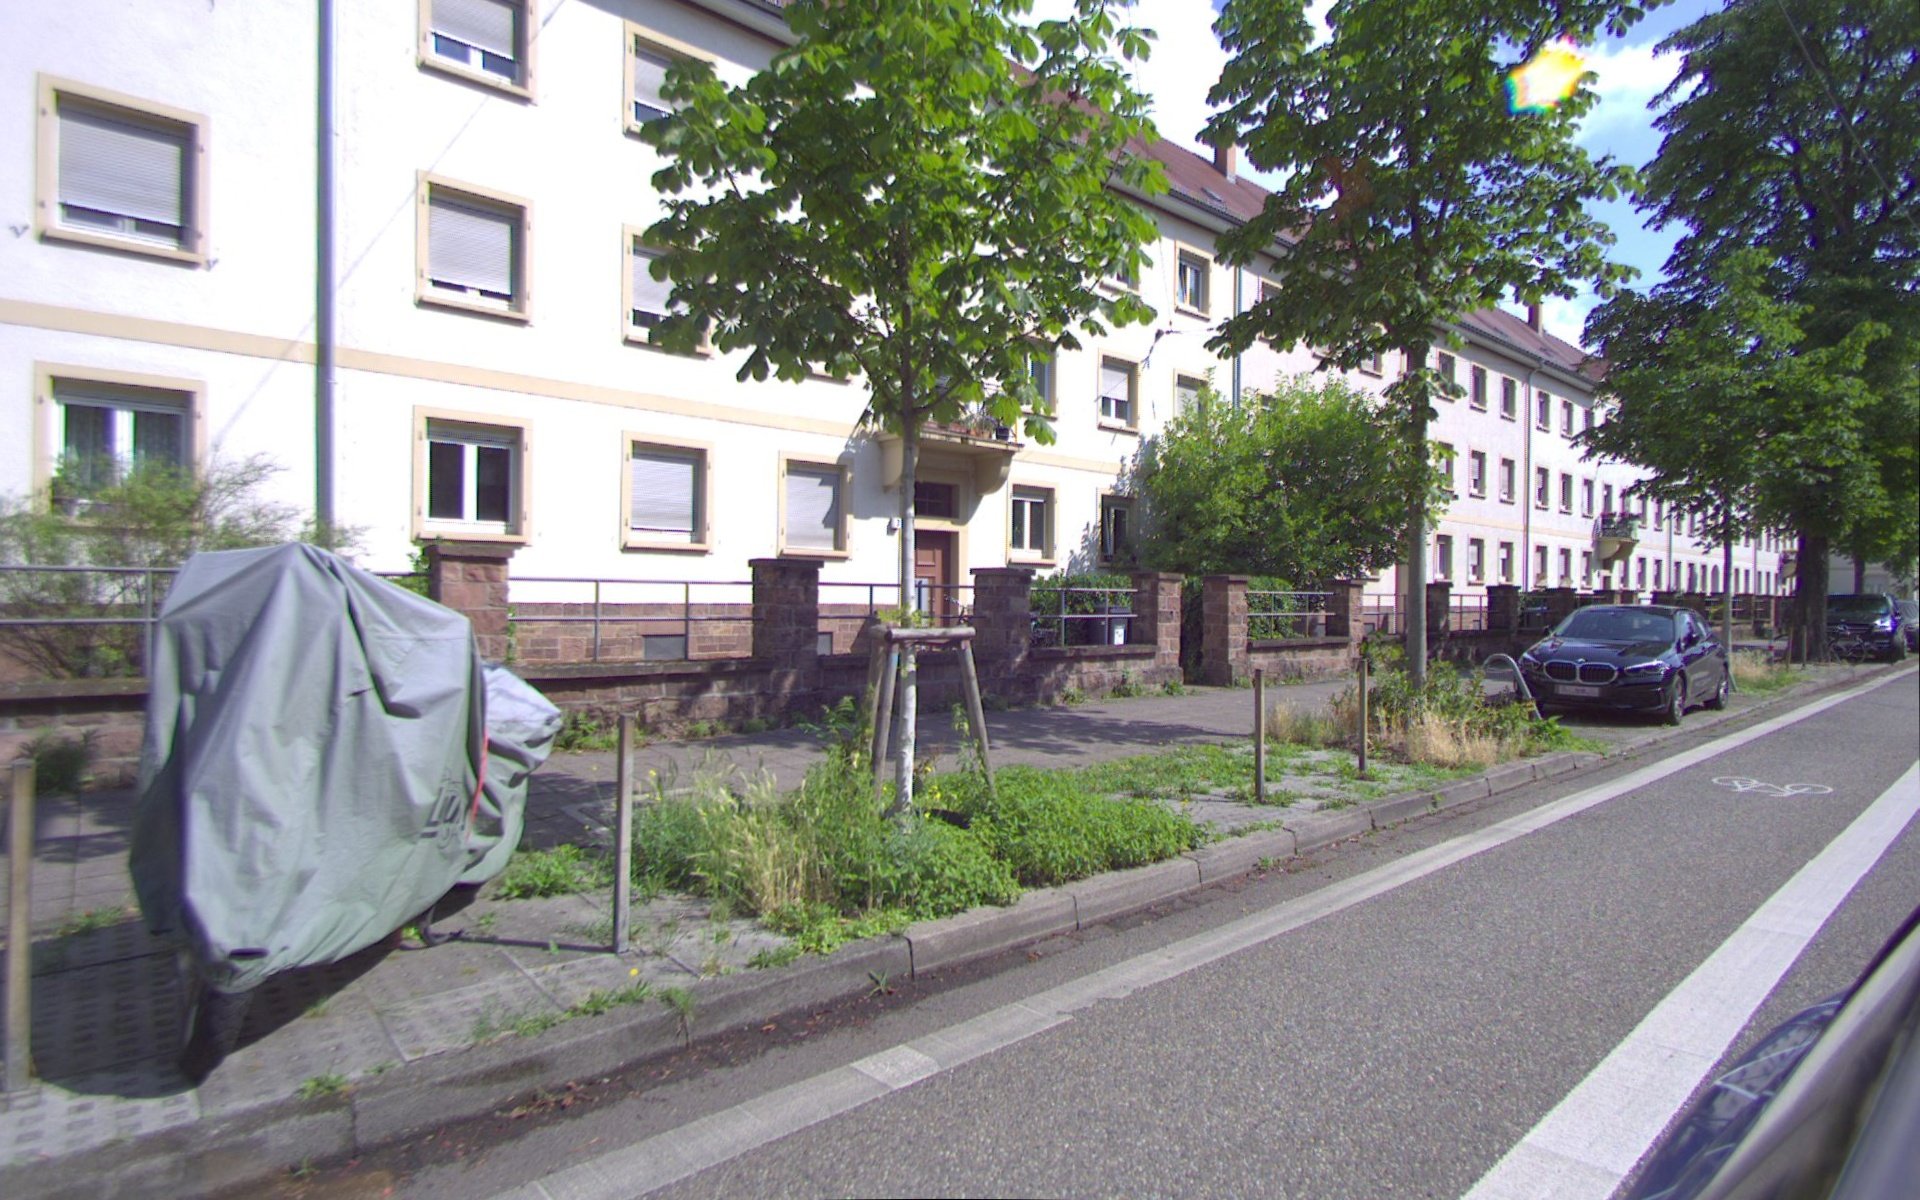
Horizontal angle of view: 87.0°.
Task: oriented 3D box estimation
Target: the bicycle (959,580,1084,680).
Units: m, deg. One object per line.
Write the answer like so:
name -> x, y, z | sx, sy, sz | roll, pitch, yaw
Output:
bicycle -> 0.821, 0.362, 13.186 | 1.674, 1.227, 0.600 | 0, 0, -41

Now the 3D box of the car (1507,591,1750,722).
car -> 9.125, 0.662, 13.681 | 4.124, 1.498, 1.708 | 0, -1, -42

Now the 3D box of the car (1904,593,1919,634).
car -> 39.040, 0.509, 40.344 | 4.176, 1.601, 1.744 | 0, 0, -42

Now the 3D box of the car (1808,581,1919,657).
car -> 23.760, 0.444, 26.415 | 4.651, 1.805, 1.830 | 0, 0, -42

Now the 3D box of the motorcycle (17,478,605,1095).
motorcycle -> -2.132, 0.474, 3.858 | 0.666, 1.617, 2.386 | 0, 0, 1

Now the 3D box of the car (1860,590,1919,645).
car -> 30.886, 0.538, 32.943 | 4.558, 1.674, 1.865 | 0, 0, -42

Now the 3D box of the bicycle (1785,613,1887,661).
bicycle -> 20.209, 0.842, 23.381 | 0.626, 1.020, 1.711 | 0, 1, -40

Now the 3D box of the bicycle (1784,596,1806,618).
bicycle -> 44.046, 0.370, 53.387 | 1.769, 1.149, 0.626 | 0, 0, -41

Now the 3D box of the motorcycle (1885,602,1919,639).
motorcycle -> 35.806, 0.776, 37.669 | 0.735, 1.354, 2.008 | 0, 0, -44

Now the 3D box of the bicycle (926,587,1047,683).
bicycle -> 0.378, 0.439, 13.742 | 1.674, 1.227, 0.600 | 0, 0, -41
